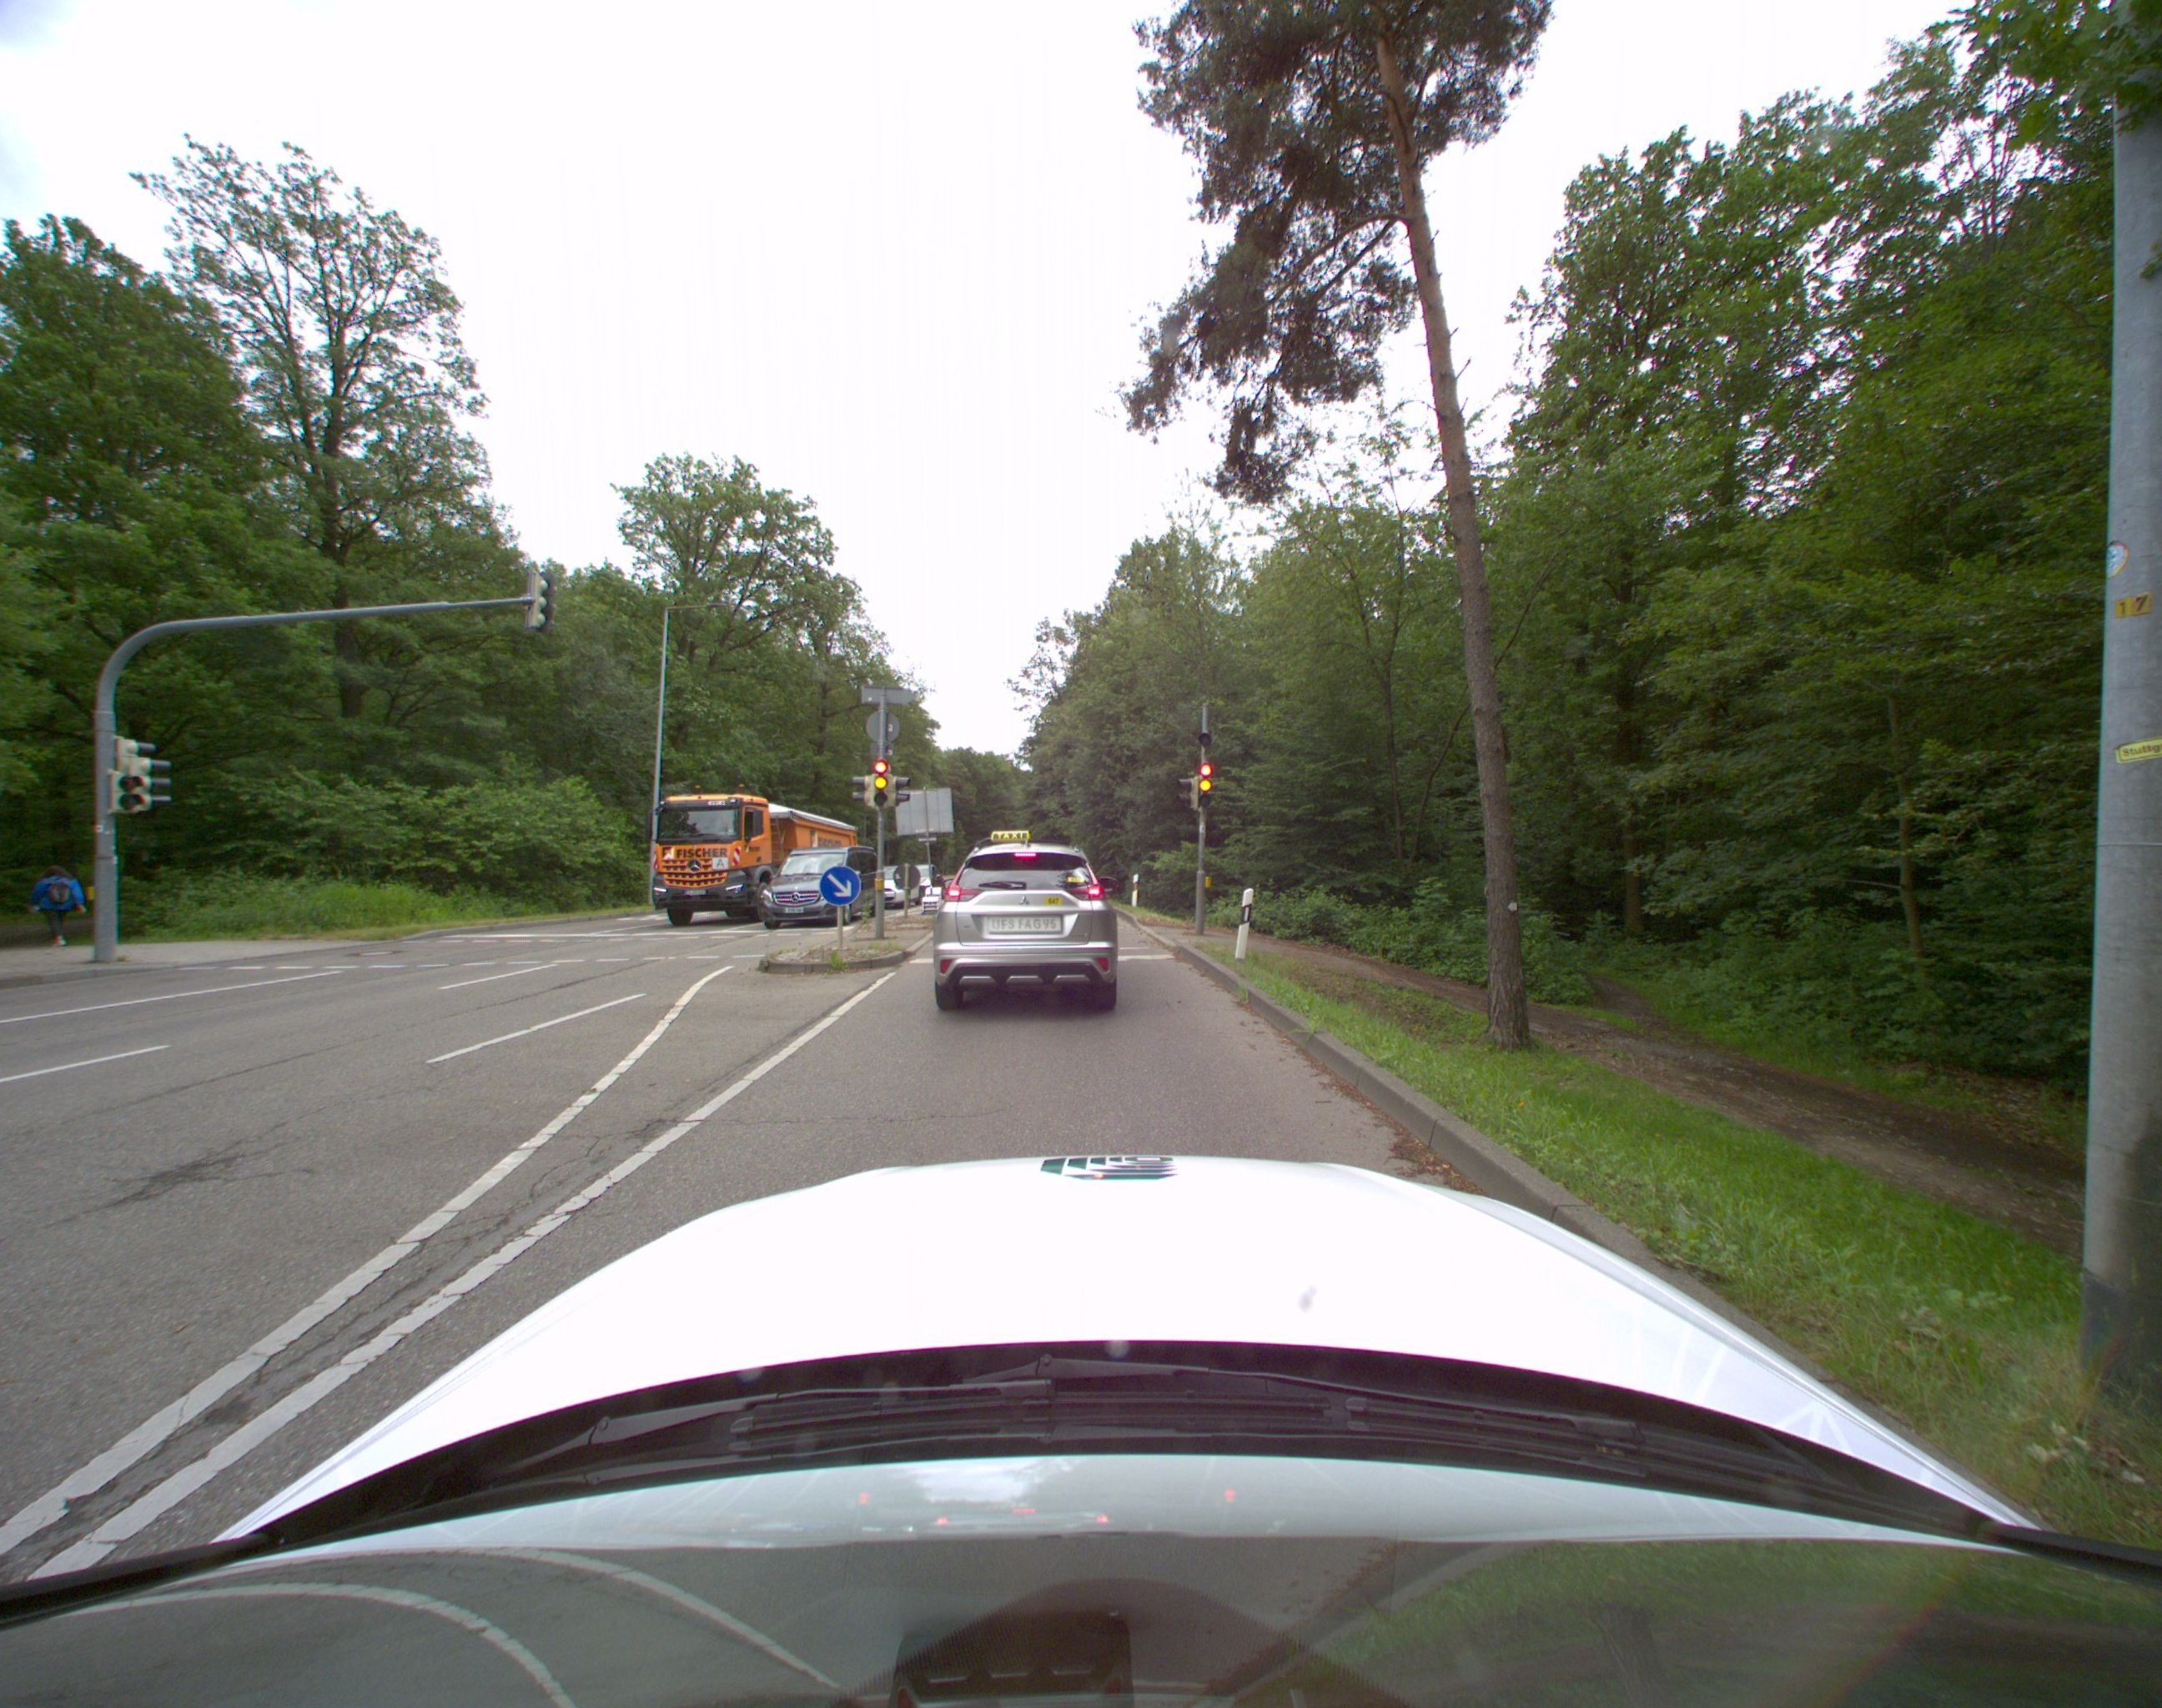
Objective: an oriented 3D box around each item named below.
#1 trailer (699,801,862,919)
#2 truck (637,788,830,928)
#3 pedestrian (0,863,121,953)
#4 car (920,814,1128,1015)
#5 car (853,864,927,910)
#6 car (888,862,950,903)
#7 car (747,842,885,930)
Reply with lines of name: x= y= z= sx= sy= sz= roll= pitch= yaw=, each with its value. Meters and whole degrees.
trailer: x=-9.750 y=0.258 z=27.610 sx=2.733 sy=3.318 sz=8.558 roll=-2 pitch=-1 yaw=-3
truck: x=-9.513 y=0.167 z=23.295 sx=2.733 sy=3.318 sz=7.150 roll=-2 pitch=-1 yaw=-3
pedestrian: x=-20.306 y=1.050 z=16.214 sx=1.043 sy=1.649 sz=1.070 roll=3 pitch=1 yaw=3
car: x=-0.629 y=0.543 z=9.267 sx=1.843 sy=1.780 sz=3.994 roll=0 pitch=0 yaw=-4
car: x=-6.395 y=1.056 z=27.627 sx=1.607 sy=1.321 sz=3.720 roll=-3 pitch=0 yaw=-1
car: x=-6.664 y=1.138 z=33.803 sx=1.806 sy=1.508 sz=3.719 roll=-3 pitch=-1 yaw=-1
car: x=-6.479 y=0.746 z=20.540 sx=1.988 sy=1.894 sz=4.835 roll=-2 pitch=-1 yaw=-2
